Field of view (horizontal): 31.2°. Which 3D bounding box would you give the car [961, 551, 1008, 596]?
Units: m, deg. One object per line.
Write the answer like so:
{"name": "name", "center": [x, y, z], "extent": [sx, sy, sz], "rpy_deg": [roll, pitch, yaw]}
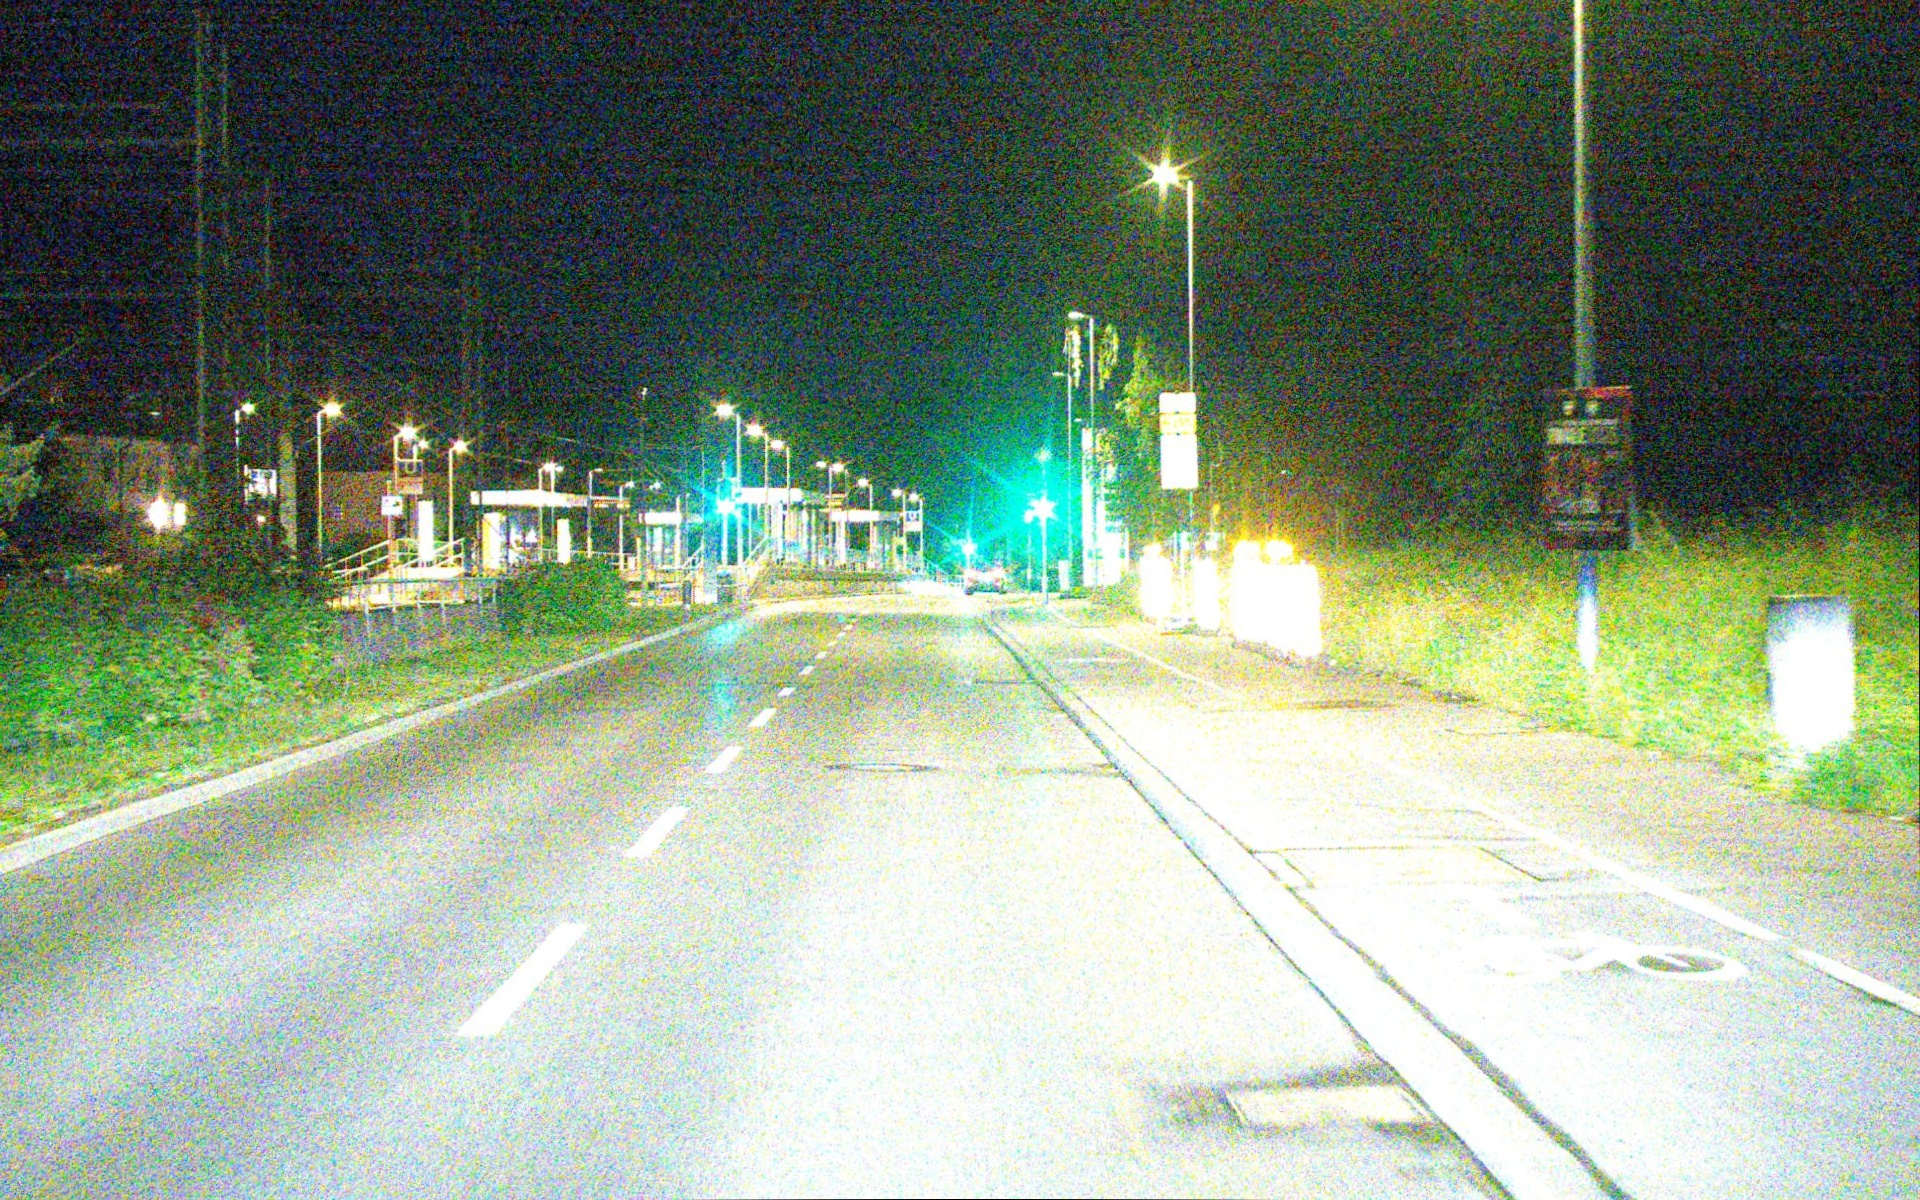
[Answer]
{"name": "car", "center": [1.133, -1.228, 157.275], "extent": [2.087, 2.007, 4.000], "rpy_deg": [-1, 1, 1]}
